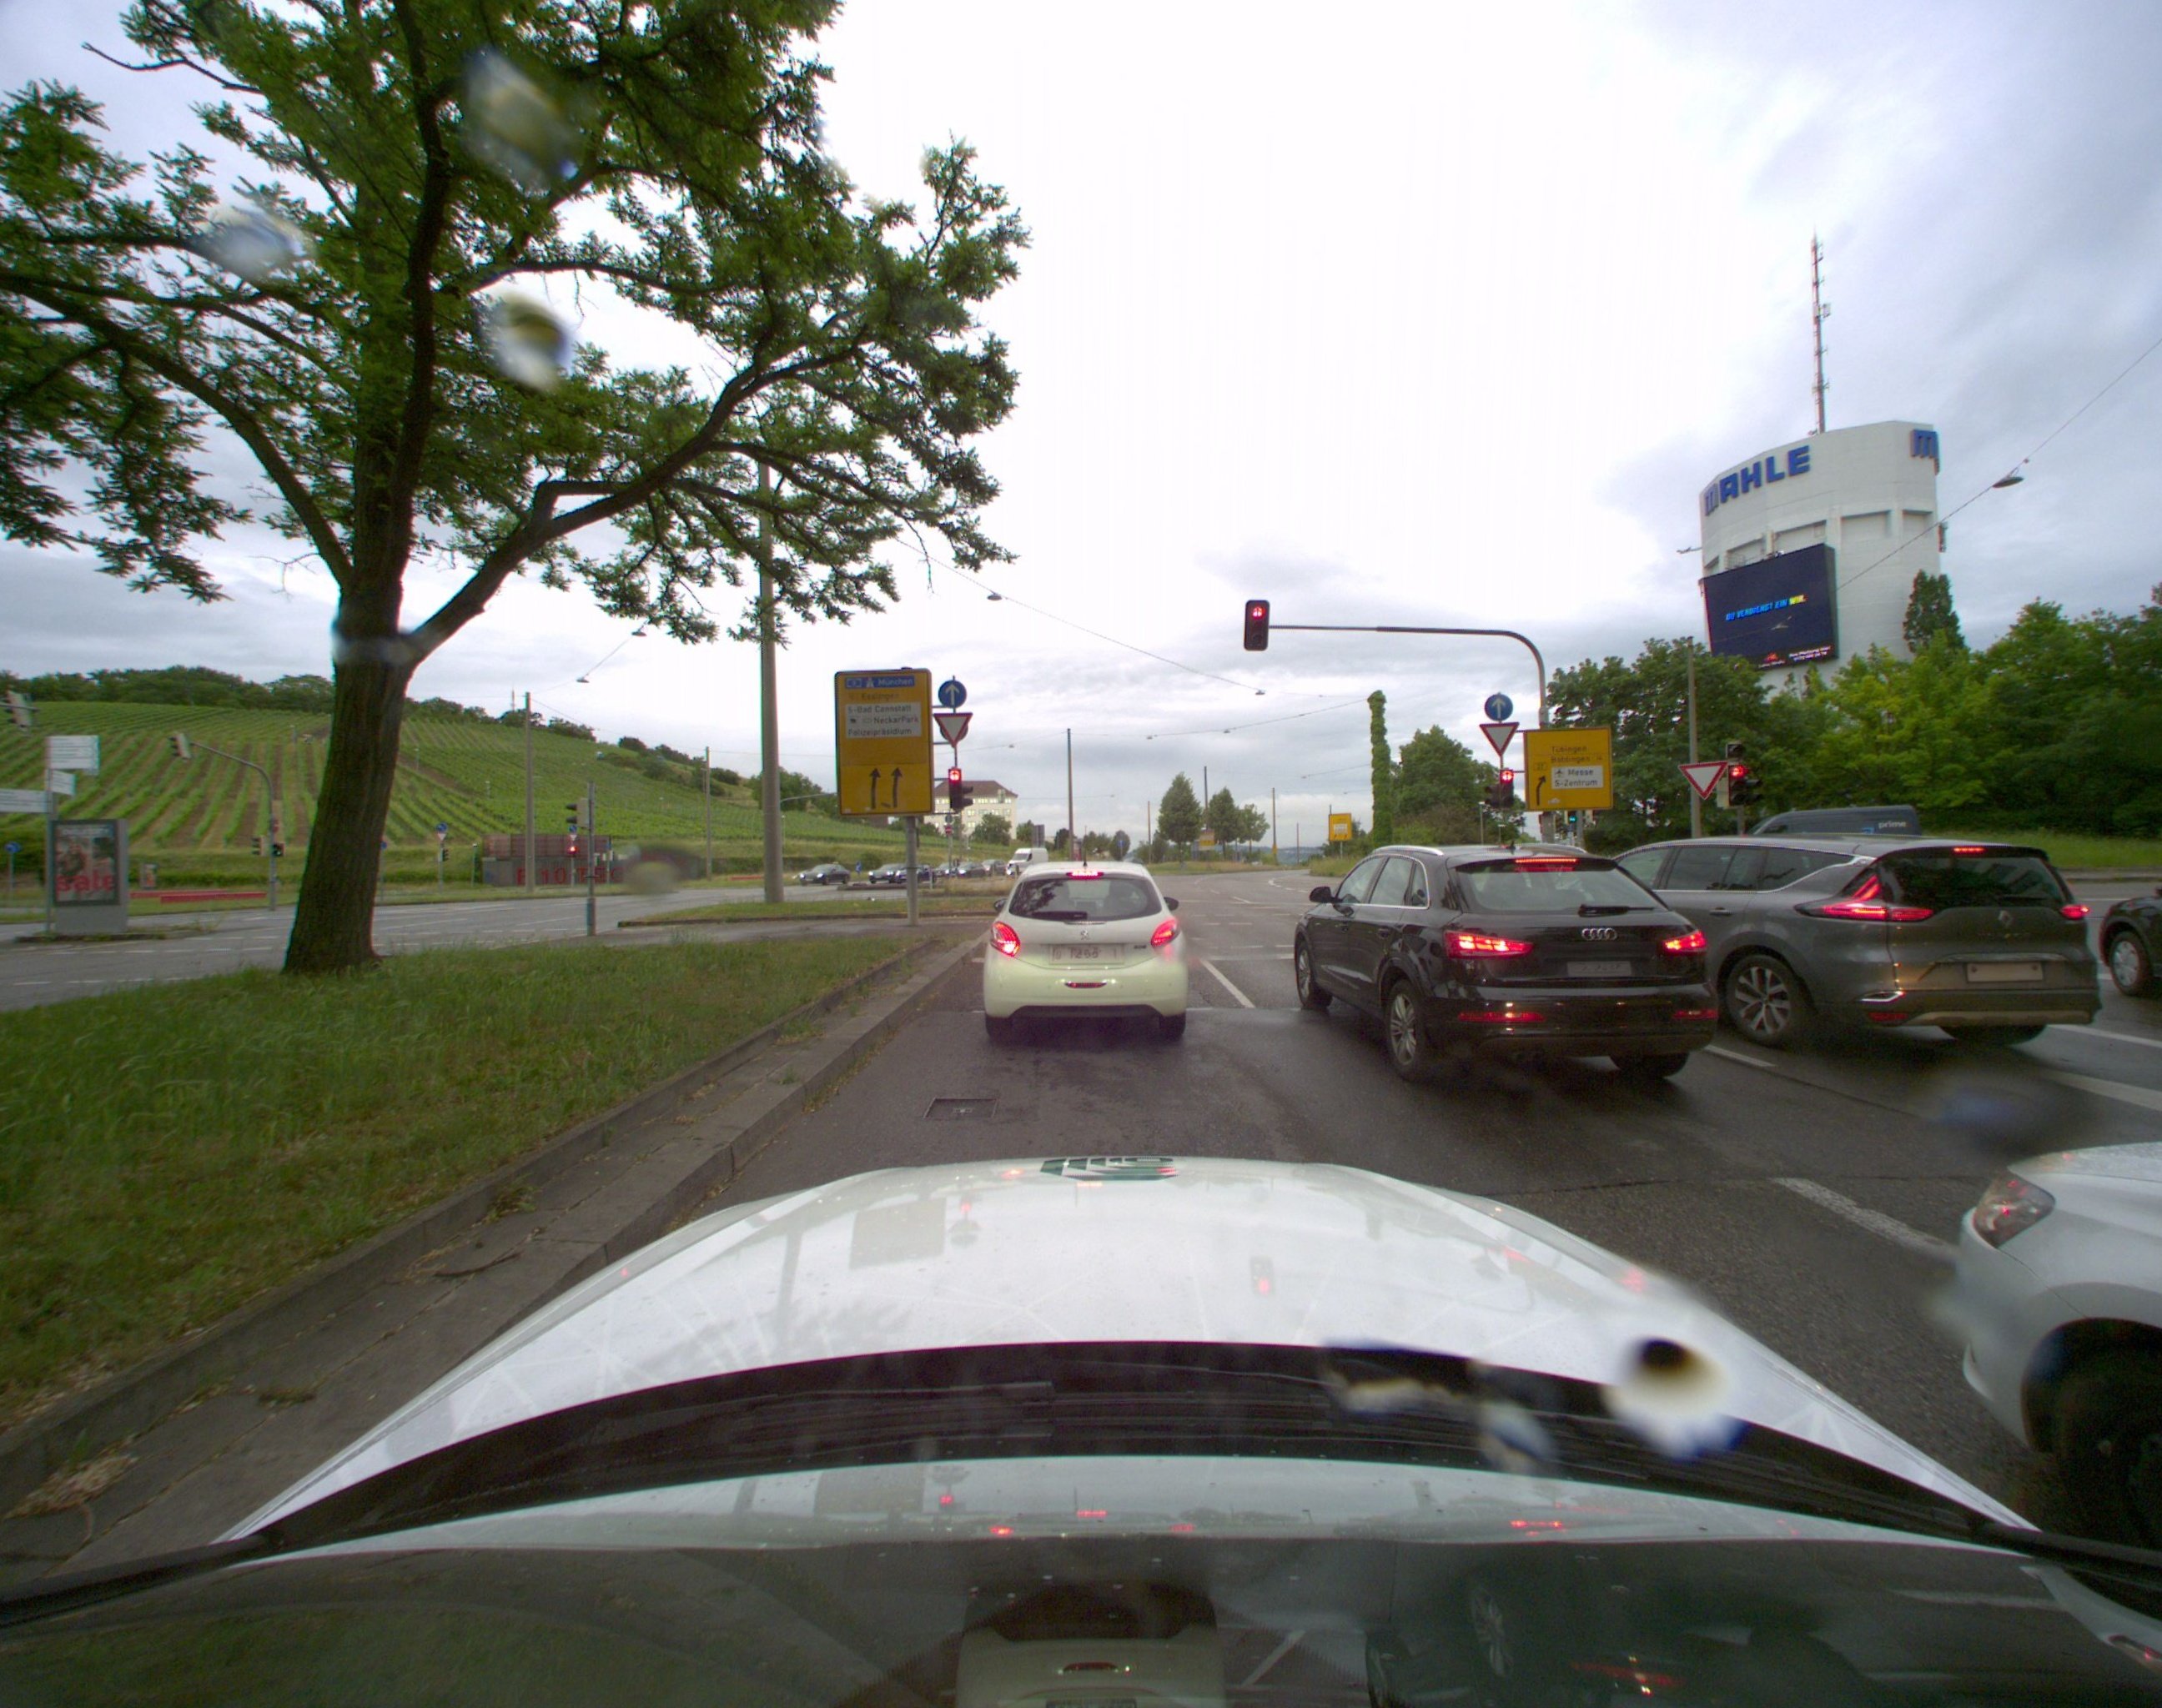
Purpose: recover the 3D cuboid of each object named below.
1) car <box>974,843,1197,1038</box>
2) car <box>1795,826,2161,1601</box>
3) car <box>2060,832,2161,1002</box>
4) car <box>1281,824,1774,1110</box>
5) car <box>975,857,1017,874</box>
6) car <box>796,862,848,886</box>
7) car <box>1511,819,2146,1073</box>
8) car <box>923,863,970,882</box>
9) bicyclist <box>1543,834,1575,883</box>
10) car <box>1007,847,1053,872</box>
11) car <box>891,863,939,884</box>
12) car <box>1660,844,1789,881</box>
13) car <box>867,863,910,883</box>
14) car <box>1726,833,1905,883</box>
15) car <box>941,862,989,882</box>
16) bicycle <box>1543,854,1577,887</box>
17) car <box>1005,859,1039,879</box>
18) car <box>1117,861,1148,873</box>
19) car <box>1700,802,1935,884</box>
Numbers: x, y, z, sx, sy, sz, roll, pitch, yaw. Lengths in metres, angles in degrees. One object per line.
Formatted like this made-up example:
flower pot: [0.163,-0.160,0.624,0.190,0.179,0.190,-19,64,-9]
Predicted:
car: [0.068,0.687,8.278,1.712,1.489,4.000,0,-1,1]
car: [2.838,0.660,0.394,1.734,1.432,3.813,1,-1,2]
car: [10.289,0.577,6.435,1.847,1.497,4.177,-2,0,29]
car: [3.042,0.664,6.688,1.877,1.595,4.114,1,-1,1]
car: [-8.087,1.080,77.808,1.975,1.576,4.219,0,-1,25]
car: [-17.981,1.356,56.715,1.820,1.624,4.572,1,-1,5]
car: [6.176,0.591,7.694,1.859,1.674,4.565,0,0,0]
car: [-11.538,1.598,70.158,1.809,1.472,4.692,-1,0,20]
bicyclist: [15.888,0.144,27.089,0.801,1.584,1.028,0,-1,24]
car: [-5.346,0.598,85.632,1.975,2.559,6.205,0,-1,26]
car: [-11.329,1.353,55.881,1.775,1.395,3.894,0,-2,12]
car: [28.242,0.403,35.909,4.094,1.564,1.881,-1,-1,22]
car: [-13.981,1.404,59.452,1.777,1.395,3.889,0,-2,7]
car: [24.339,0.189,27.192,4.012,1.569,1.881,-1,-2,25]
car: [-9.244,1.439,65.424,1.886,1.489,4.913,0,-1,17]
bicycle: [15.886,0.536,27.038,0.801,1.023,2.342,-2,-1,27]
car: [-4.537,1.148,63.148,1.766,1.425,4.382,-2,-1,7]
car: [6.703,1.733,105.676,1.974,1.513,4.258,0,-1,37]
car: [26.429,-0.305,29.597,5.953,2.741,2.094,-1,-2,28]
